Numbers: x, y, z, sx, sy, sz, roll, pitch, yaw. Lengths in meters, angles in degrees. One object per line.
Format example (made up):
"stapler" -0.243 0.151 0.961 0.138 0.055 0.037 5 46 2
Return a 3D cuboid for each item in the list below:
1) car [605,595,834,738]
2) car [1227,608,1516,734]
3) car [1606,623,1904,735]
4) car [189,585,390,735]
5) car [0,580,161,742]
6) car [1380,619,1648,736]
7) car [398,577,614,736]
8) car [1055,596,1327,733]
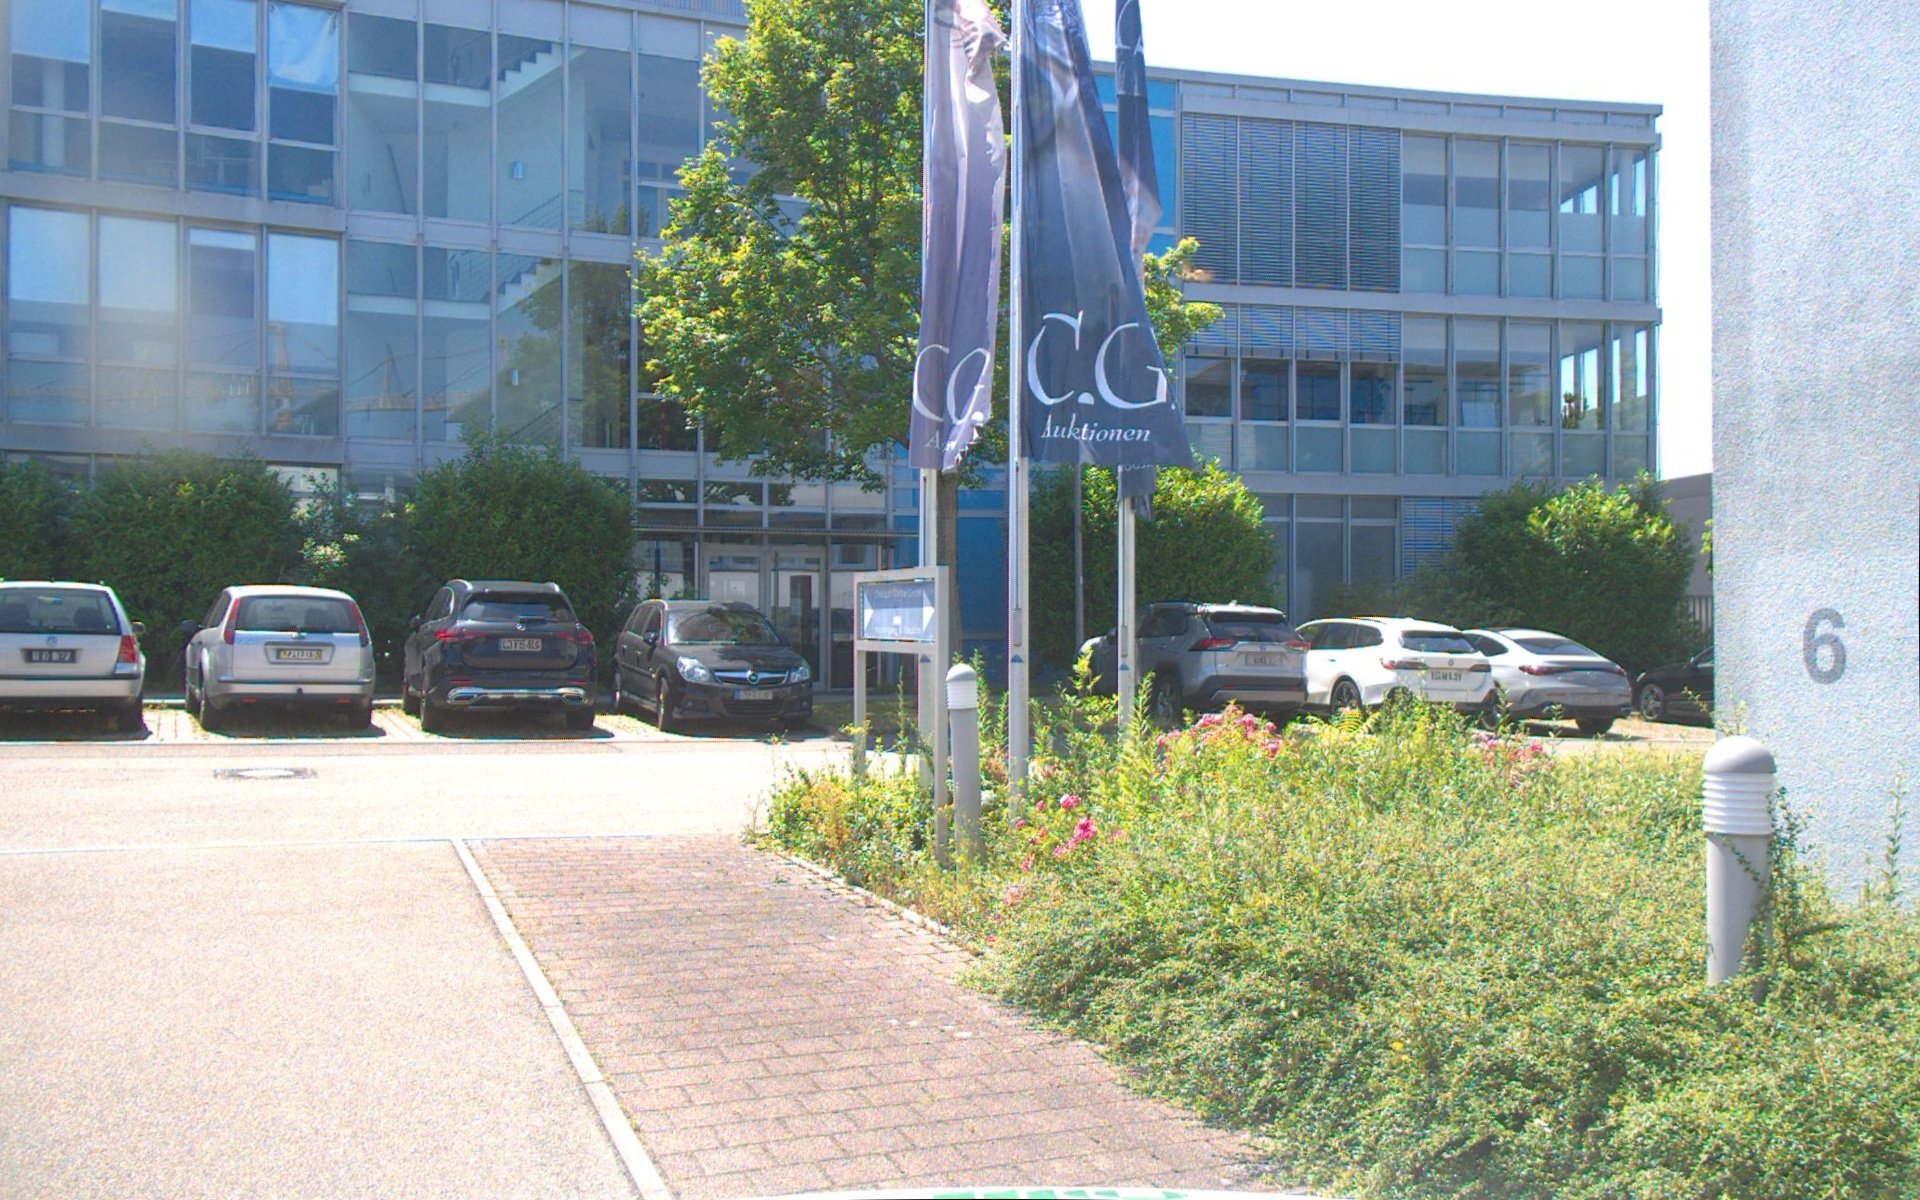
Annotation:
"car" -3.049 0.723 20.210 1.746 1.508 4.228 1 1 -23
"car" 5.679 0.938 23.415 1.712 1.518 4.309 2 0 -23
"car" 12.285 1.170 25.930 1.706 1.472 4.532 2 0 -14
"car" -7.617 0.615 18.613 1.744 1.474 3.621 2 0 -27
"car" -9.331 0.564 17.208 1.711 1.474 3.621 2 0 -27
"car" 8.037 1.074 24.463 1.706 1.454 4.324 2 0 -14
"car" -5.411 0.588 19.367 1.901 1.639 3.958 2 0 -23
"car" 3.073 0.814 22.958 1.795 1.648 4.309 1 1 -23
